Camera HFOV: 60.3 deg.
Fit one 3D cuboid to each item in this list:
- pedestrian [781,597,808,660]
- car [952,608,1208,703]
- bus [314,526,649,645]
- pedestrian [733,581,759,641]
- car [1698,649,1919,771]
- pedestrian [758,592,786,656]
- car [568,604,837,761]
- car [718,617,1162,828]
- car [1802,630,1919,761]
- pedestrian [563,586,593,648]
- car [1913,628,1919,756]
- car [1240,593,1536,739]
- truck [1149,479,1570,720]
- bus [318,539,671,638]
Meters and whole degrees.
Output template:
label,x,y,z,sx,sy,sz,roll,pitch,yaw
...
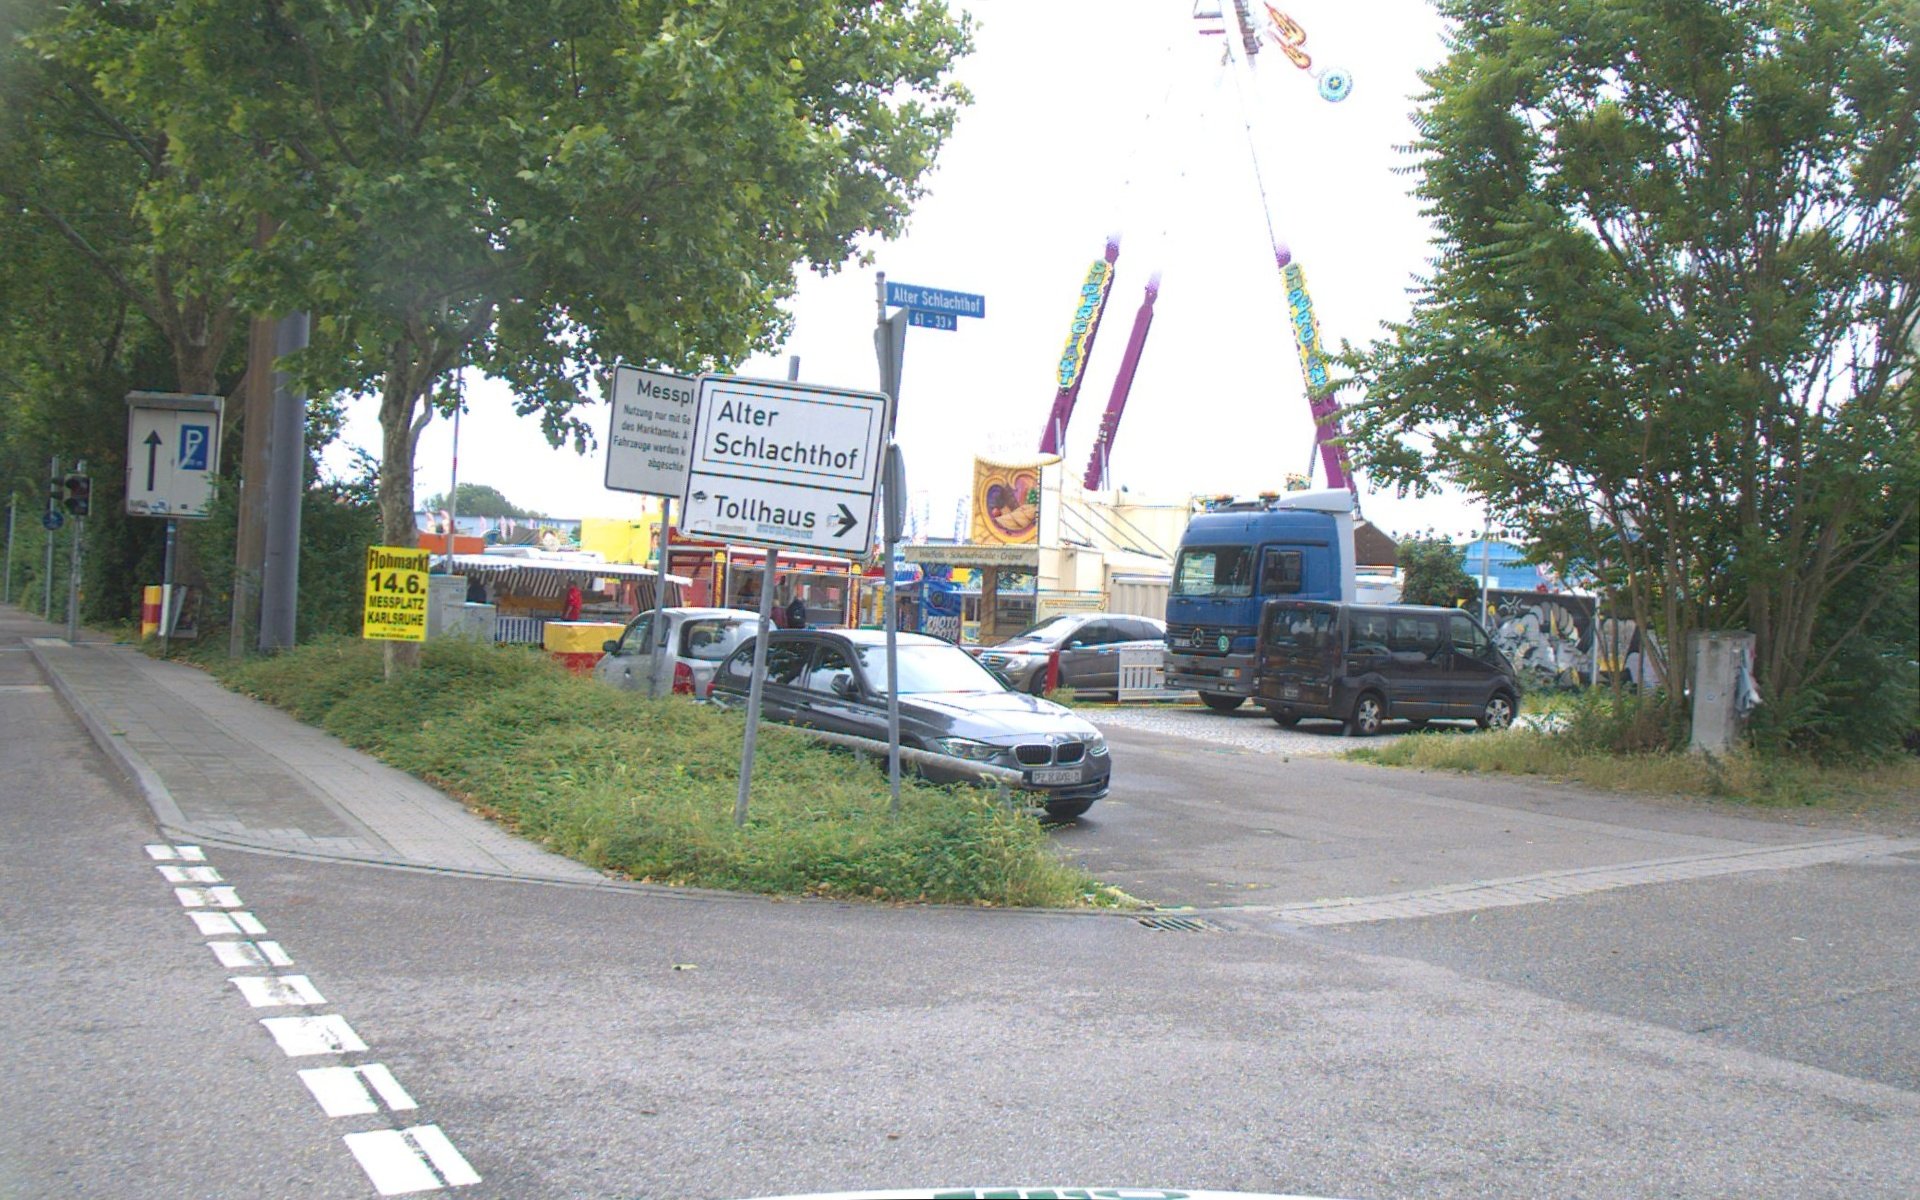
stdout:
label,x,y,z,sx,sy,sz,roll,pitch,yaw
pedestrian,-4.616,0.794,46.152,0.485,1.716,0.520,1,-2,42
car,2.296,1.057,31.050,4.532,1.603,1.977,3,-1,-34
bus,-13.826,-0.327,48.431,9.199,3.011,1.976,3,-1,-35
pedestrian,-6.176,0.318,47.764,0.488,1.716,0.517,3,-1,-35
car,11.880,1.445,21.280,1.869,1.373,3.953,6,-2,-34
pedestrian,-5.166,0.663,45.424,0.485,1.716,0.520,1,-2,42
car,-3.169,0.916,19.699,1.843,1.622,3.960,3,-1,-30
car,-0.309,0.945,14.172,1.848,1.455,3.949,3,-1,-36
car,13.878,1.393,22.398,1.869,1.673,3.954,4,0,-34
pedestrian,-9.339,0.417,40.433,0.488,1.488,0.517,3,-1,-35
car,16.126,1.450,23.606,1.868,1.912,3.954,3,0,-33
car,6.748,1.000,25.931,4.533,2.048,1.977,2,1,-34
truck,7.403,0.139,29.998,8.117,3.889,2.570,3,-1,-34
bus,-12.637,-0.252,45.568,9.199,2.266,1.976,3,-1,-35
